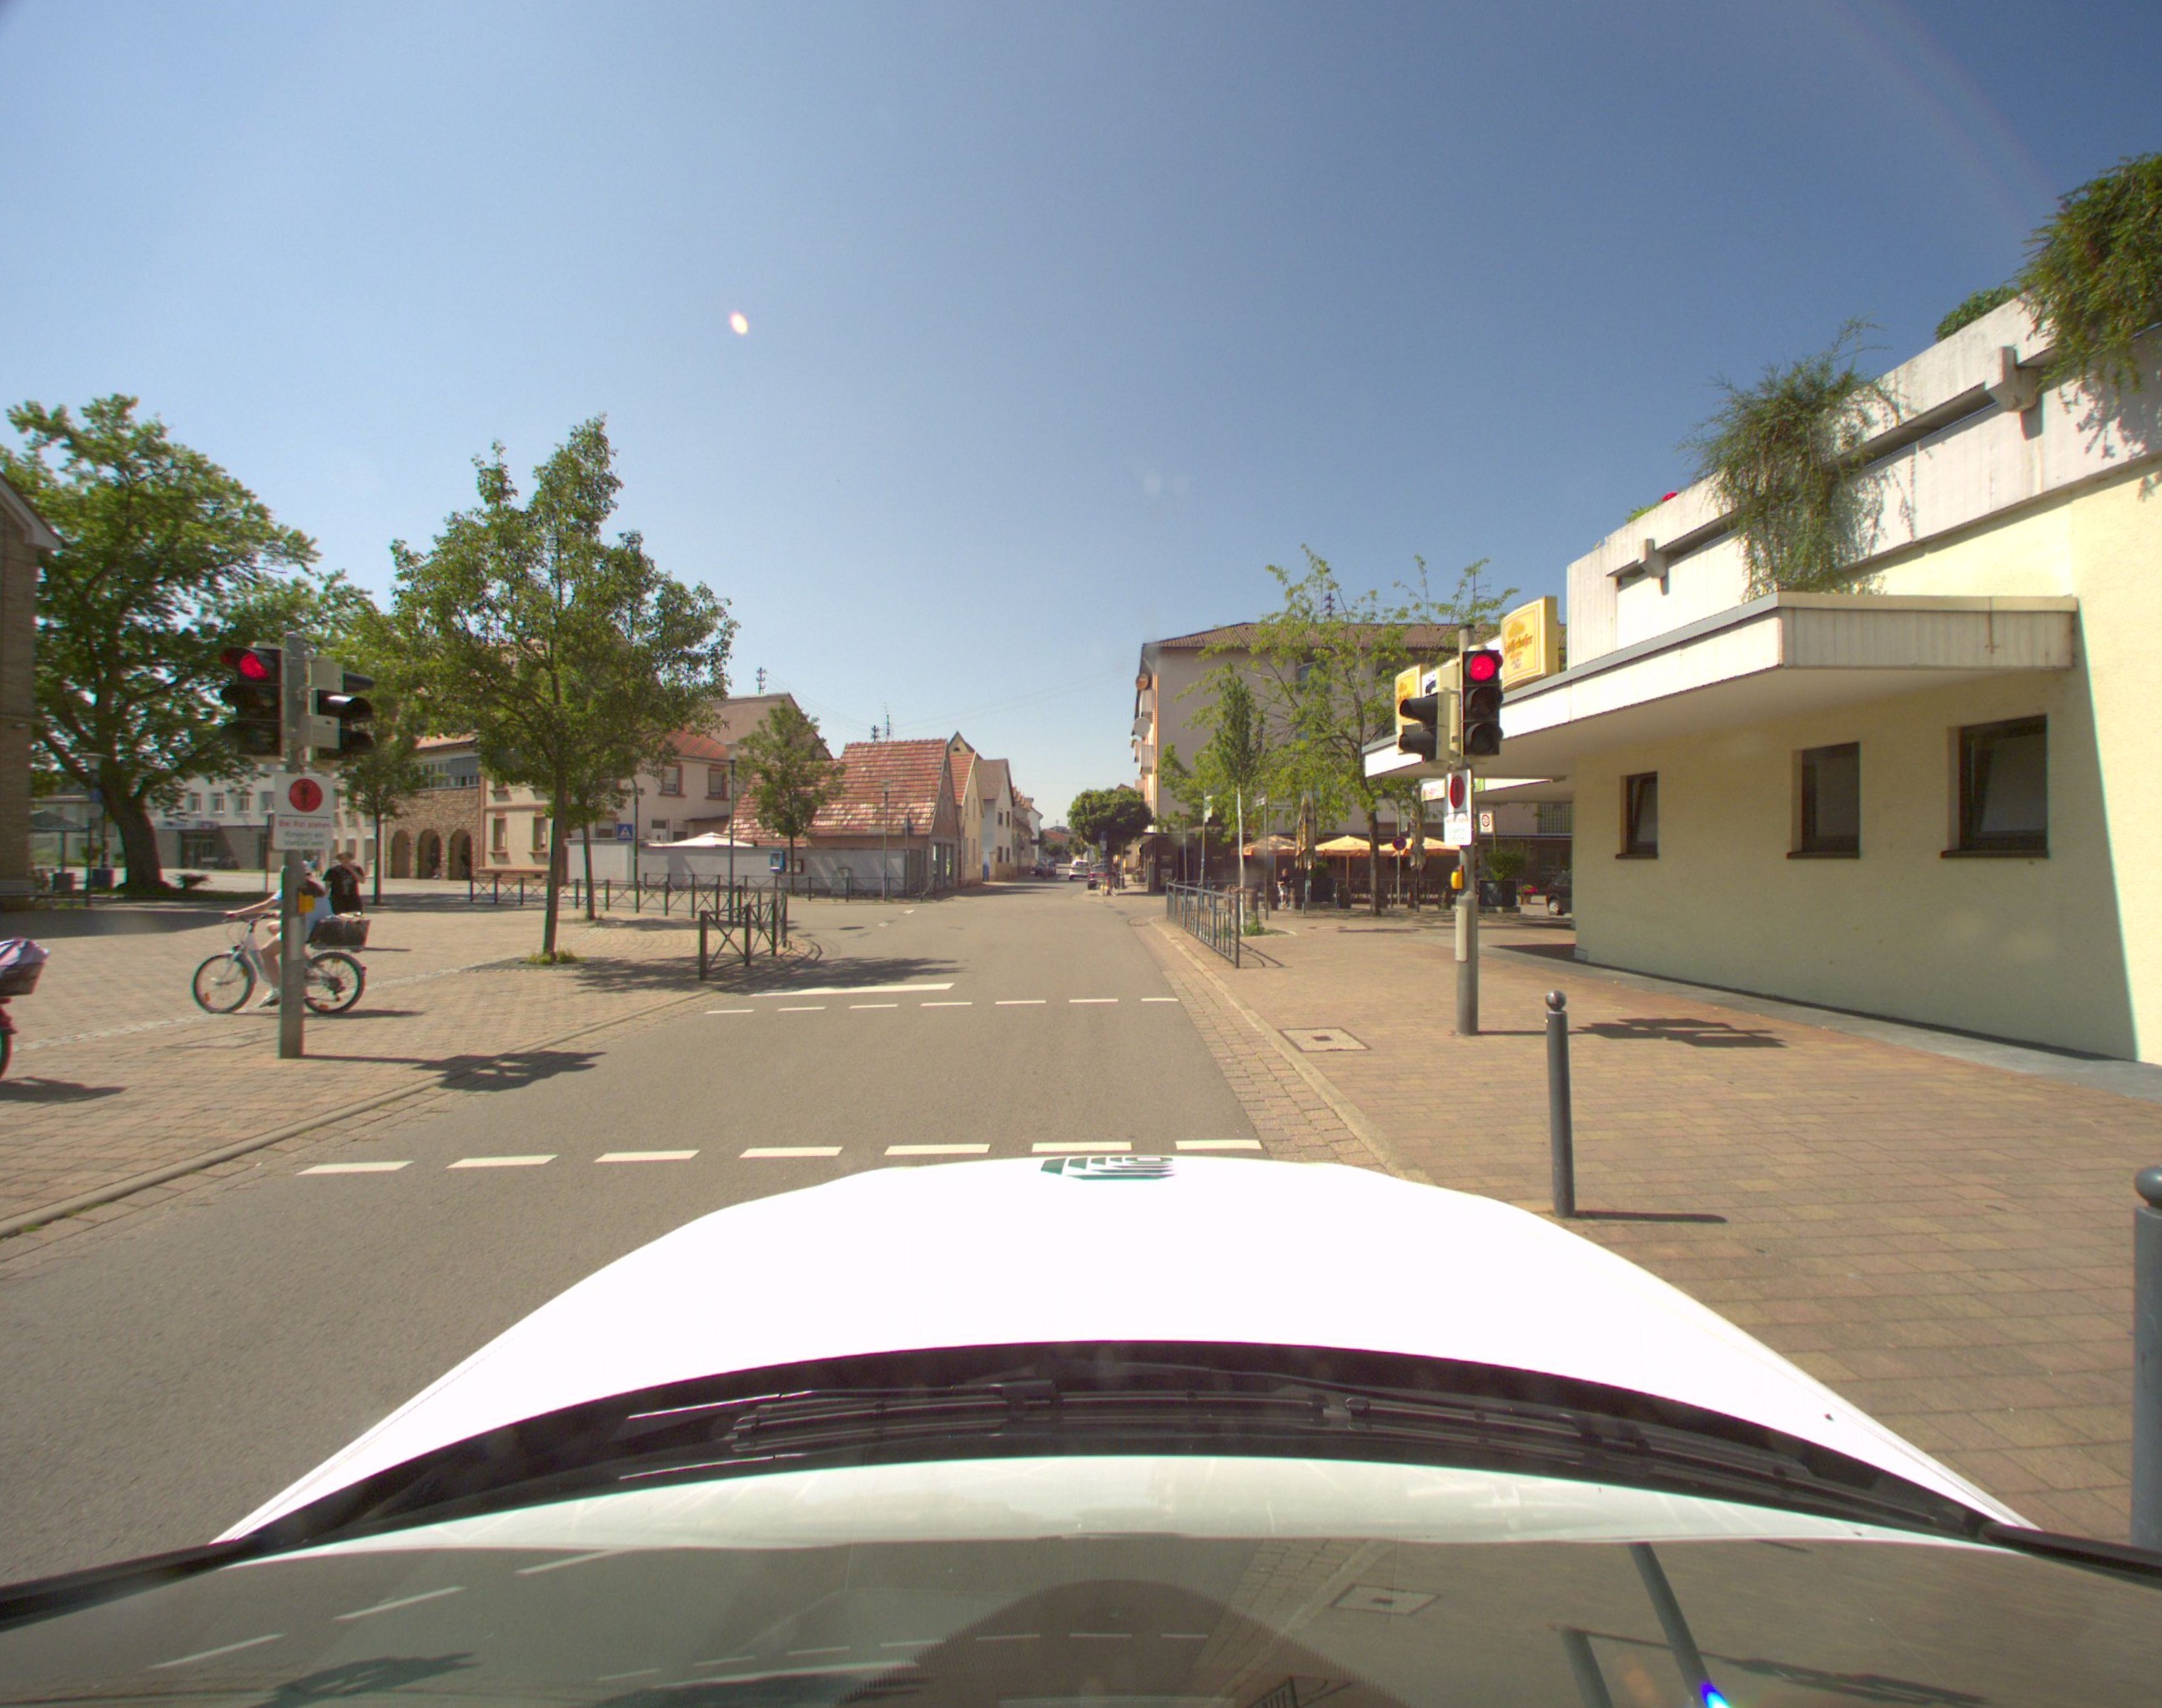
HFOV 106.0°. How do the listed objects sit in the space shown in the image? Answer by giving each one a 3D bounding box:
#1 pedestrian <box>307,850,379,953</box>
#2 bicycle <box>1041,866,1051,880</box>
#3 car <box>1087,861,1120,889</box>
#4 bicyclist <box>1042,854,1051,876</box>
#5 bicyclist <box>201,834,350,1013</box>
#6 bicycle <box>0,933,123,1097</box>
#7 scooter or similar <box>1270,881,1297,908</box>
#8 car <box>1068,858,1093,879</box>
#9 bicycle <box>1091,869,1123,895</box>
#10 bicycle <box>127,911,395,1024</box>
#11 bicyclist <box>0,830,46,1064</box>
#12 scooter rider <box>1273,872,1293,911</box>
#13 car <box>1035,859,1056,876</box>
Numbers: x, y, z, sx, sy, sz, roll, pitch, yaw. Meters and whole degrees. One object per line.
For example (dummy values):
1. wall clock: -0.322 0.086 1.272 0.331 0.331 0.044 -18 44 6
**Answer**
1. pedestrian: -12.446 0.781 13.761 0.818 1.655 0.841 2 -2 -40
2. bicycle: -2.766 1.487 64.895 0.671 1.094 1.896 -1 -1 2
3. car: 1.352 1.193 47.513 1.797 1.501 4.003 0 0 3
4. bicyclist: -2.764 0.861 64.900 0.666 1.691 0.762 -1 -1 1
5. bicyclist: -7.945 0.658 8.066 0.757 1.664 0.670 -2 0 -2
6. bicycle: -7.690 1.033 5.409 1.882 0.958 0.676 1 -1 3
7. scooter or similar: 6.889 1.373 27.703 0.381 0.873 0.881 1 -1 -33
8. car: -0.029 1.134 66.300 1.826 1.652 4.003 0 -1 3
9. bicycle: 1.240 1.302 38.735 0.530 1.193 1.655 1 -1 -42
10. bicycle: -8.053 1.095 8.059 1.885 0.958 0.675 -2 0 -3
11. bicyclist: -7.673 0.627 5.400 0.756 1.581 0.671 0 0 3
12. scooter rider: 6.882 1.263 27.717 0.519 1.286 0.413 1 -1 -33
13. car: -3.377 1.280 78.427 1.707 1.517 3.789 0 -1 3
